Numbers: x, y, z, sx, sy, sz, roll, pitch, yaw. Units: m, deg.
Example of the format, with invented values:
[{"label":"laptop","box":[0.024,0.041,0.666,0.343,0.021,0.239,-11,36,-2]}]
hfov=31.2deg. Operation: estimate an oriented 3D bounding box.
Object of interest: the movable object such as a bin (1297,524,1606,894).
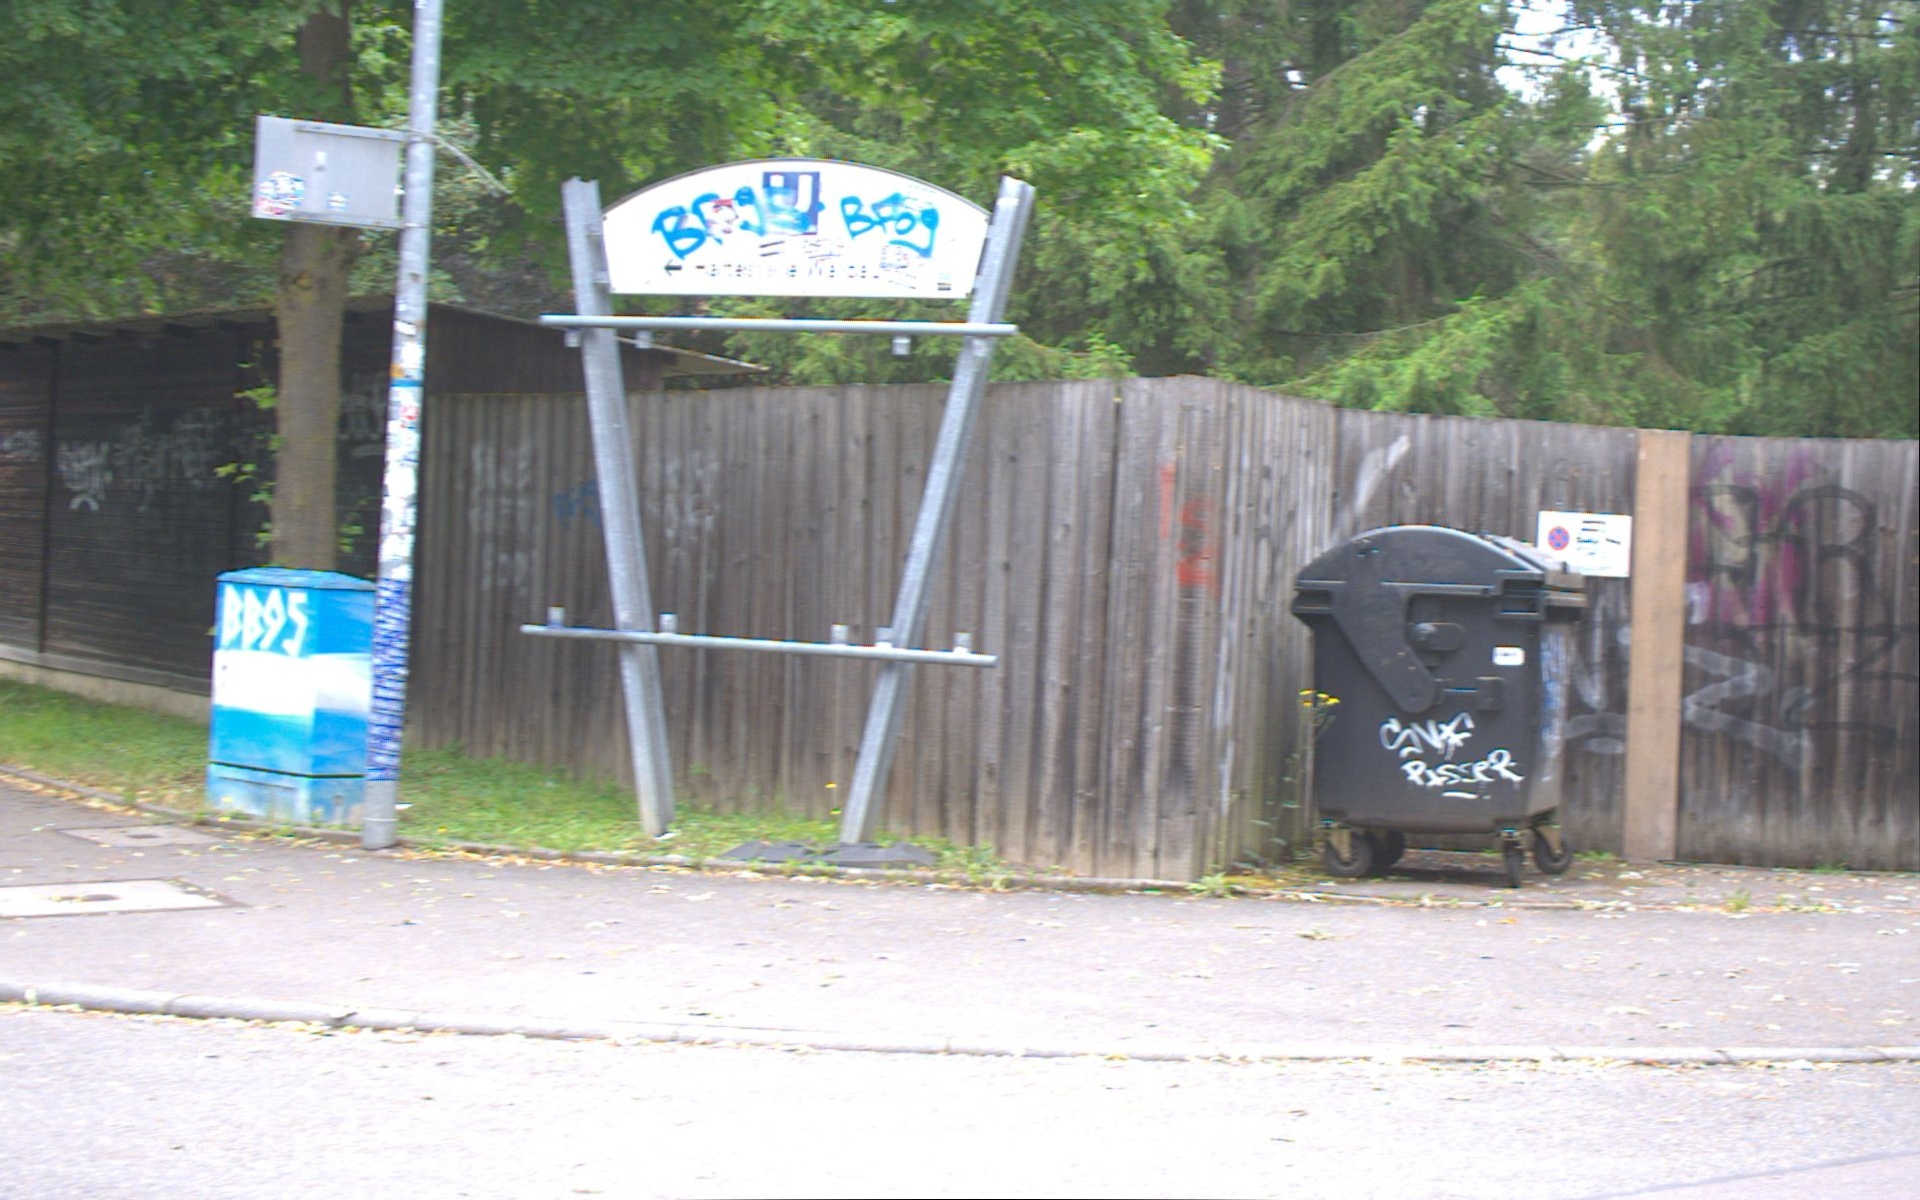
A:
[{"label":"movable object such as a bin","box":[2.071,0.426,14.327,1.076,1.437,1.285,2,0,16]}]
